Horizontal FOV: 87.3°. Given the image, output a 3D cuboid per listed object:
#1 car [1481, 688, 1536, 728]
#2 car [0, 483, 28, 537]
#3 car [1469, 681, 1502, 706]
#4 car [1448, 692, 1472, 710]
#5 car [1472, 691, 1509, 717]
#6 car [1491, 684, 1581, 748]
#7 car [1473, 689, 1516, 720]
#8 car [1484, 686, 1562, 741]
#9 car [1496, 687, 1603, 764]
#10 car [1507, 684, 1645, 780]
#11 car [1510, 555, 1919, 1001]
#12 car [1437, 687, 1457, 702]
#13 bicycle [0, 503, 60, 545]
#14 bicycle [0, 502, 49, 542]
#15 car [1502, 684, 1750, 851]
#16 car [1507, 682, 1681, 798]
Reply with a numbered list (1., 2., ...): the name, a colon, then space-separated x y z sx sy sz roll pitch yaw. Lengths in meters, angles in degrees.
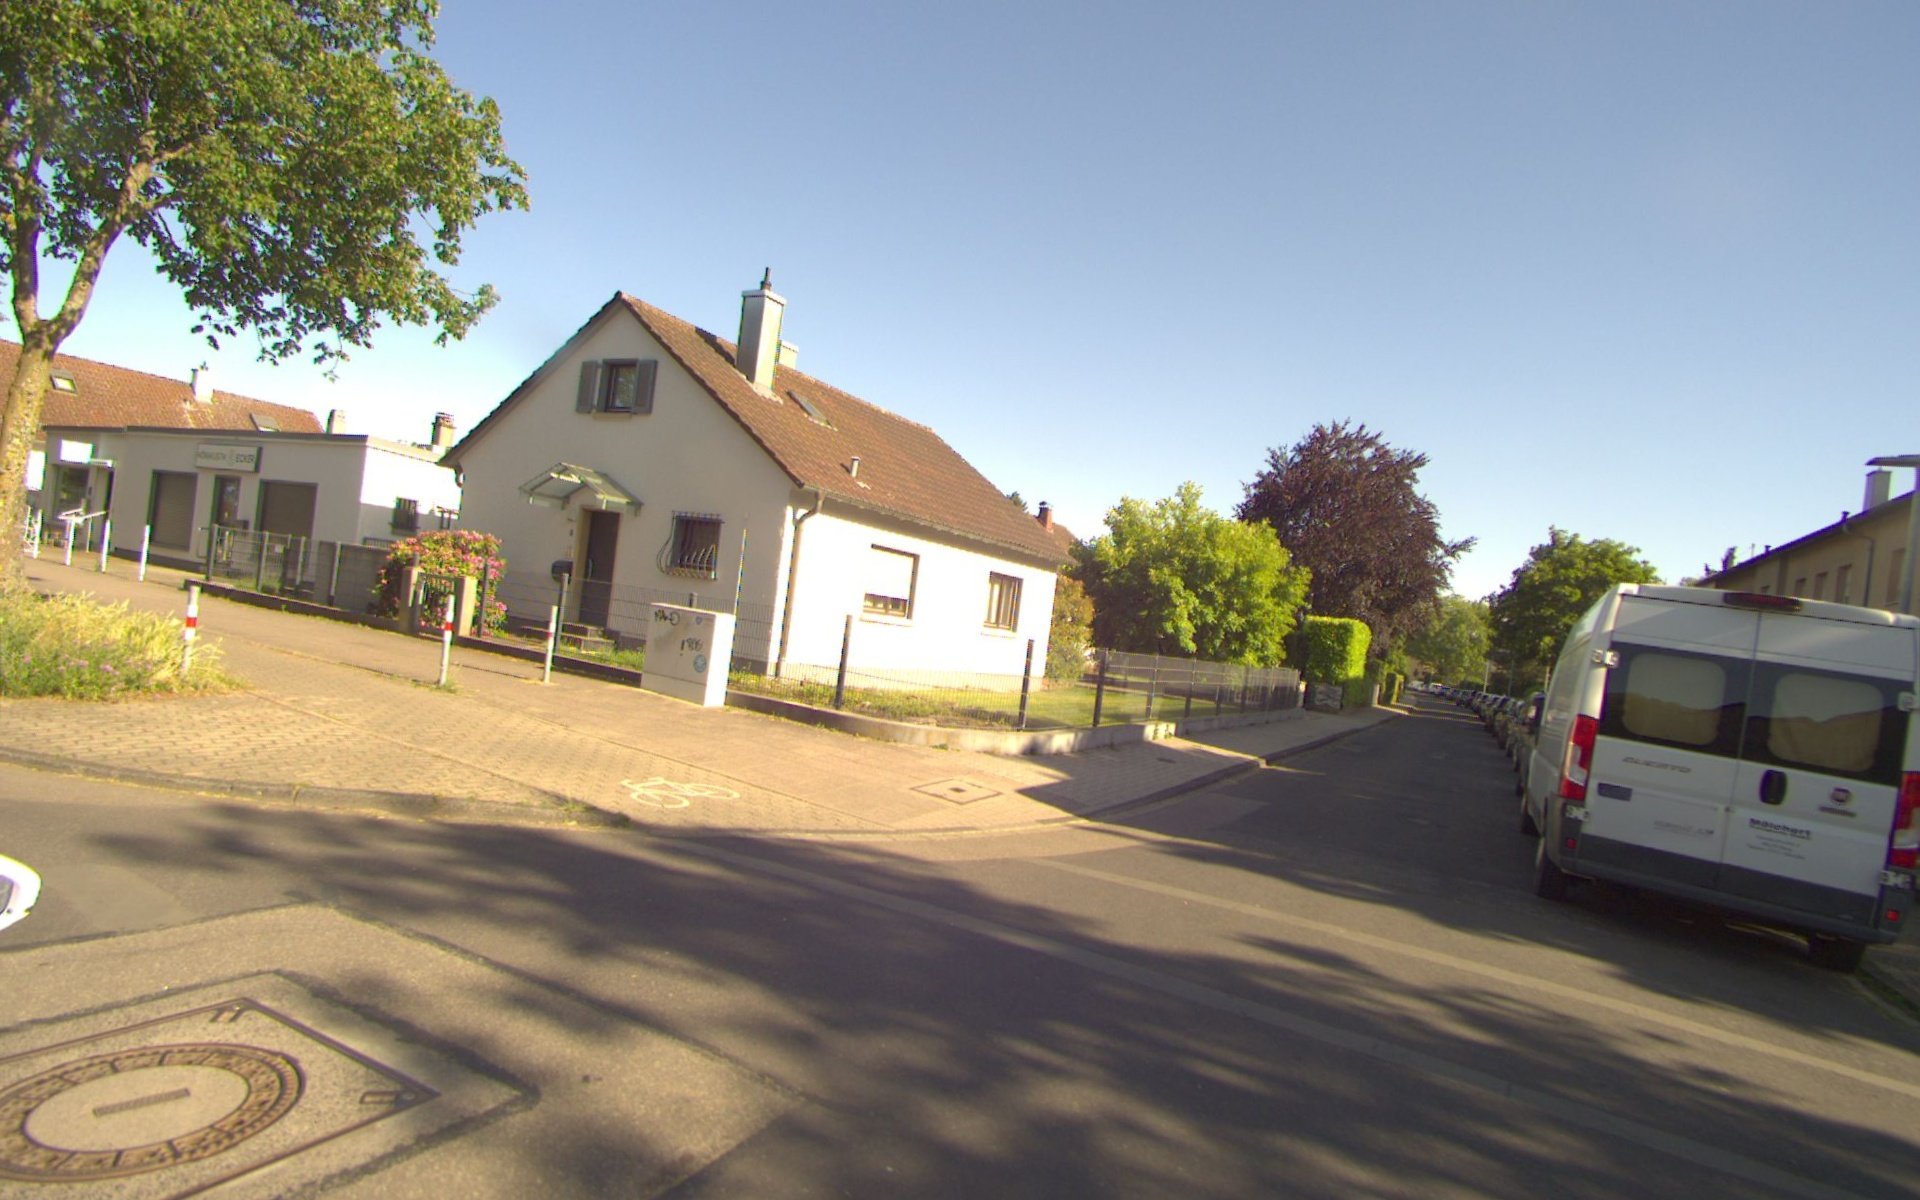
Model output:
1. car: 29.234 5.758 53.754 2.245 1.666 4.756 9 -2 27
2. car: -30.272 -2.893 29.424 1.869 1.508 3.992 9 2 29
3. car: 45.566 8.161 87.352 2.245 1.666 4.756 9 -2 27
4. car: 58.085 11.704 116.869 2.245 1.666 4.756 9 -2 27
5. car: 42.069 8.287 79.872 2.245 1.666 4.756 9 -2 27
6. car: 19.959 4.023 35.036 2.245 1.706 4.756 9 -2 27
7. car: 36.467 7.166 68.709 2.245 1.666 4.756 9 -2 27
8. car: 22.175 4.470 39.807 2.245 1.666 4.756 9 -2 27
9. car: 17.356 3.690 29.859 2.245 1.706 4.756 9 -2 27
10. car: 14.713 3.130 24.329 2.245 1.706 4.756 9 -2 27
11. car: 6.527 1.299 9.130 2.226 2.569 5.608 8 0 27
12. car: 66.790 12.965 137.987 2.245 1.666 4.756 9 -2 27
13. bicycle: -27.171 -2.210 28.790 0.566 1.011 1.961 9 1 29
14. bicycle: -27.963 -2.331 29.344 0.566 1.011 1.926 9 1 29
15. car: 9.317 2.269 14.563 2.245 1.599 4.756 9 -2 27
16. car: 12.202 2.659 19.727 2.245 1.599 4.756 9 -2 27
